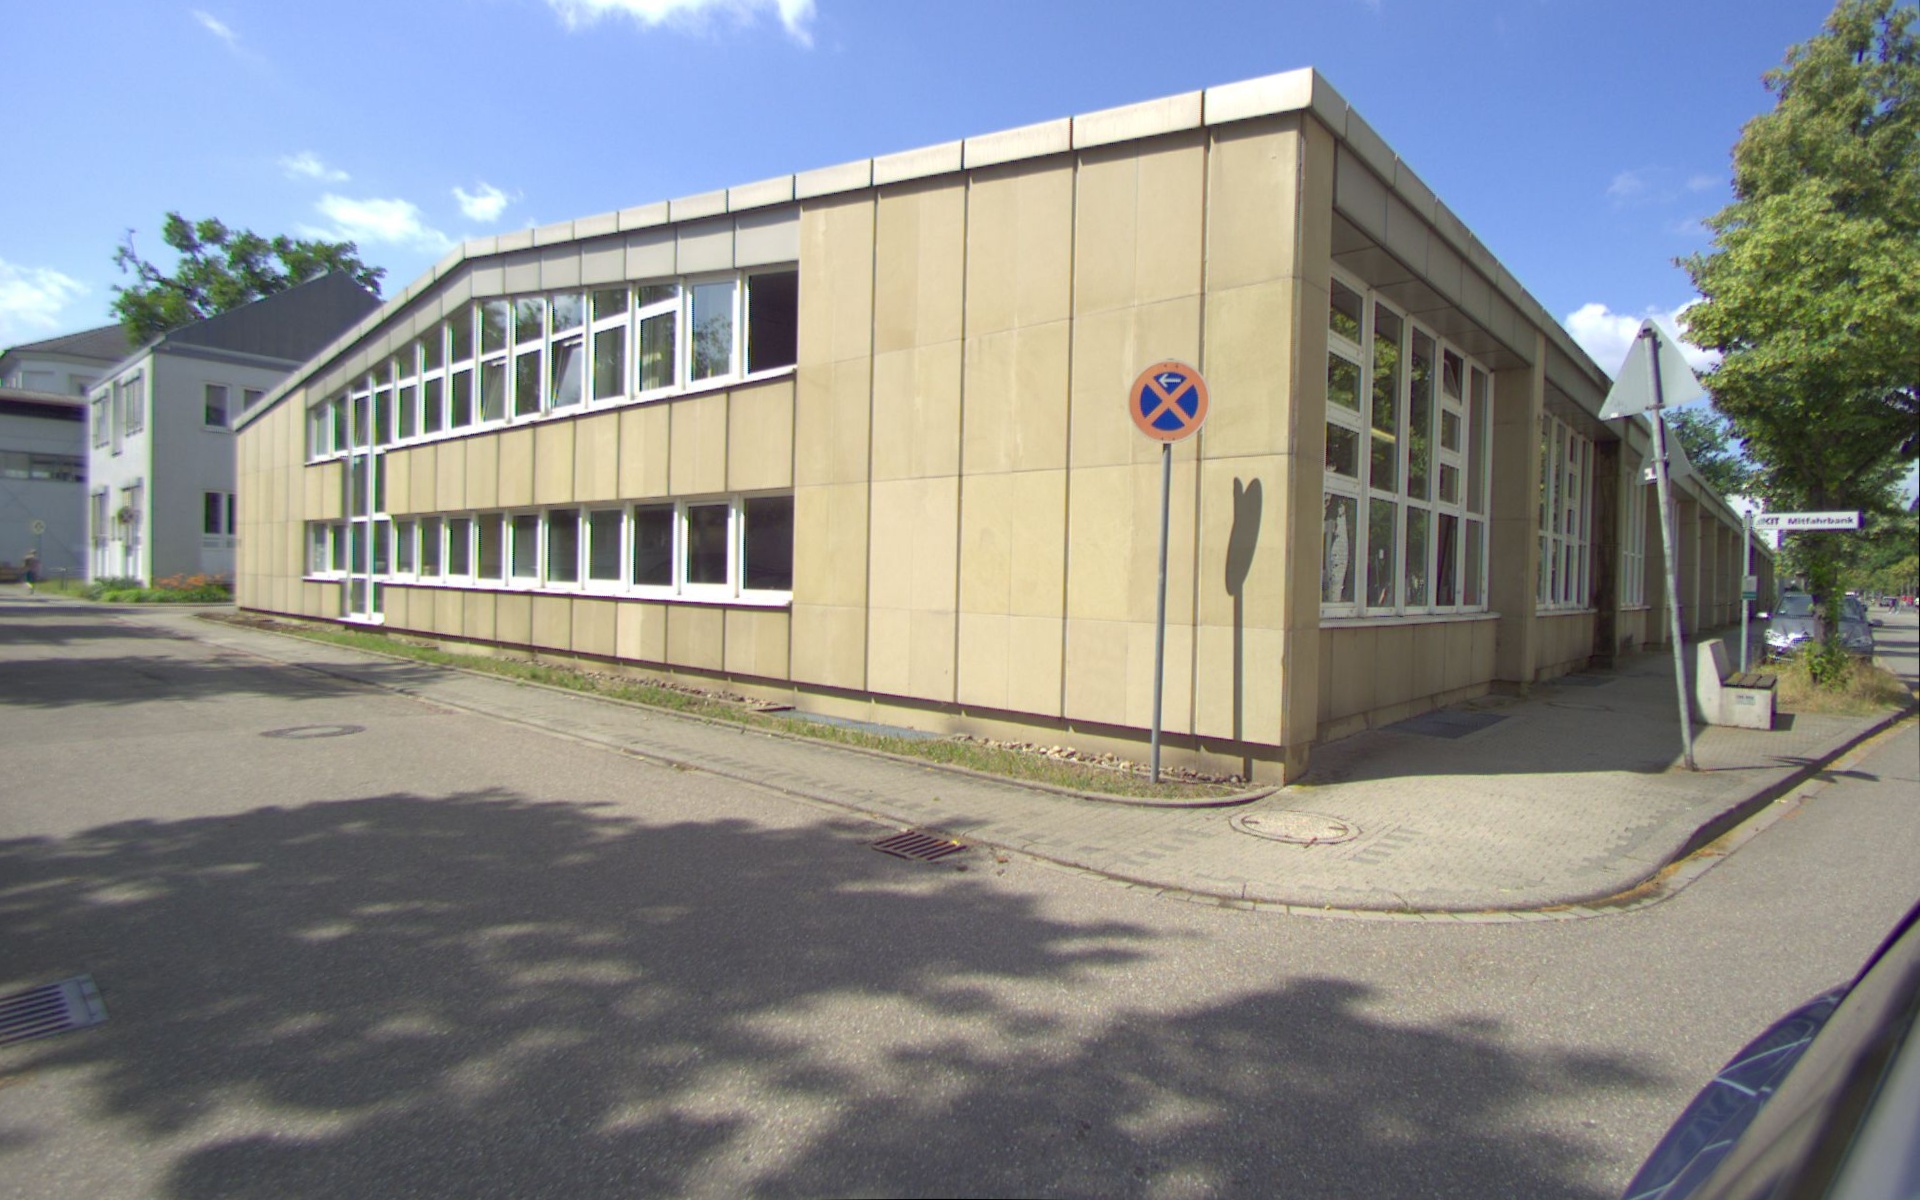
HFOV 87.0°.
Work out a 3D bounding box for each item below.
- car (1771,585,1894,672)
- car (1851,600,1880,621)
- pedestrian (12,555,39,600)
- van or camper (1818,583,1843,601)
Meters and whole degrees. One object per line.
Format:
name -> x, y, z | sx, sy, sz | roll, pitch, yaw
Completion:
car -> 18.057, 0.520, 21.034 | 1.754, 1.588, 3.762 | 3, 2, 40
car -> 86.730, 0.969, 96.936 | 1.992, 1.838, 3.940 | 2, 1, 42
pedestrian -> -35.404, -0.839, 38.353 | 0.717, 1.679, 0.830 | 0, 1, -42
van or camper -> 117.720, -1.072, 136.842 | 4.309, 2.391, 1.996 | 0, 1, -43
